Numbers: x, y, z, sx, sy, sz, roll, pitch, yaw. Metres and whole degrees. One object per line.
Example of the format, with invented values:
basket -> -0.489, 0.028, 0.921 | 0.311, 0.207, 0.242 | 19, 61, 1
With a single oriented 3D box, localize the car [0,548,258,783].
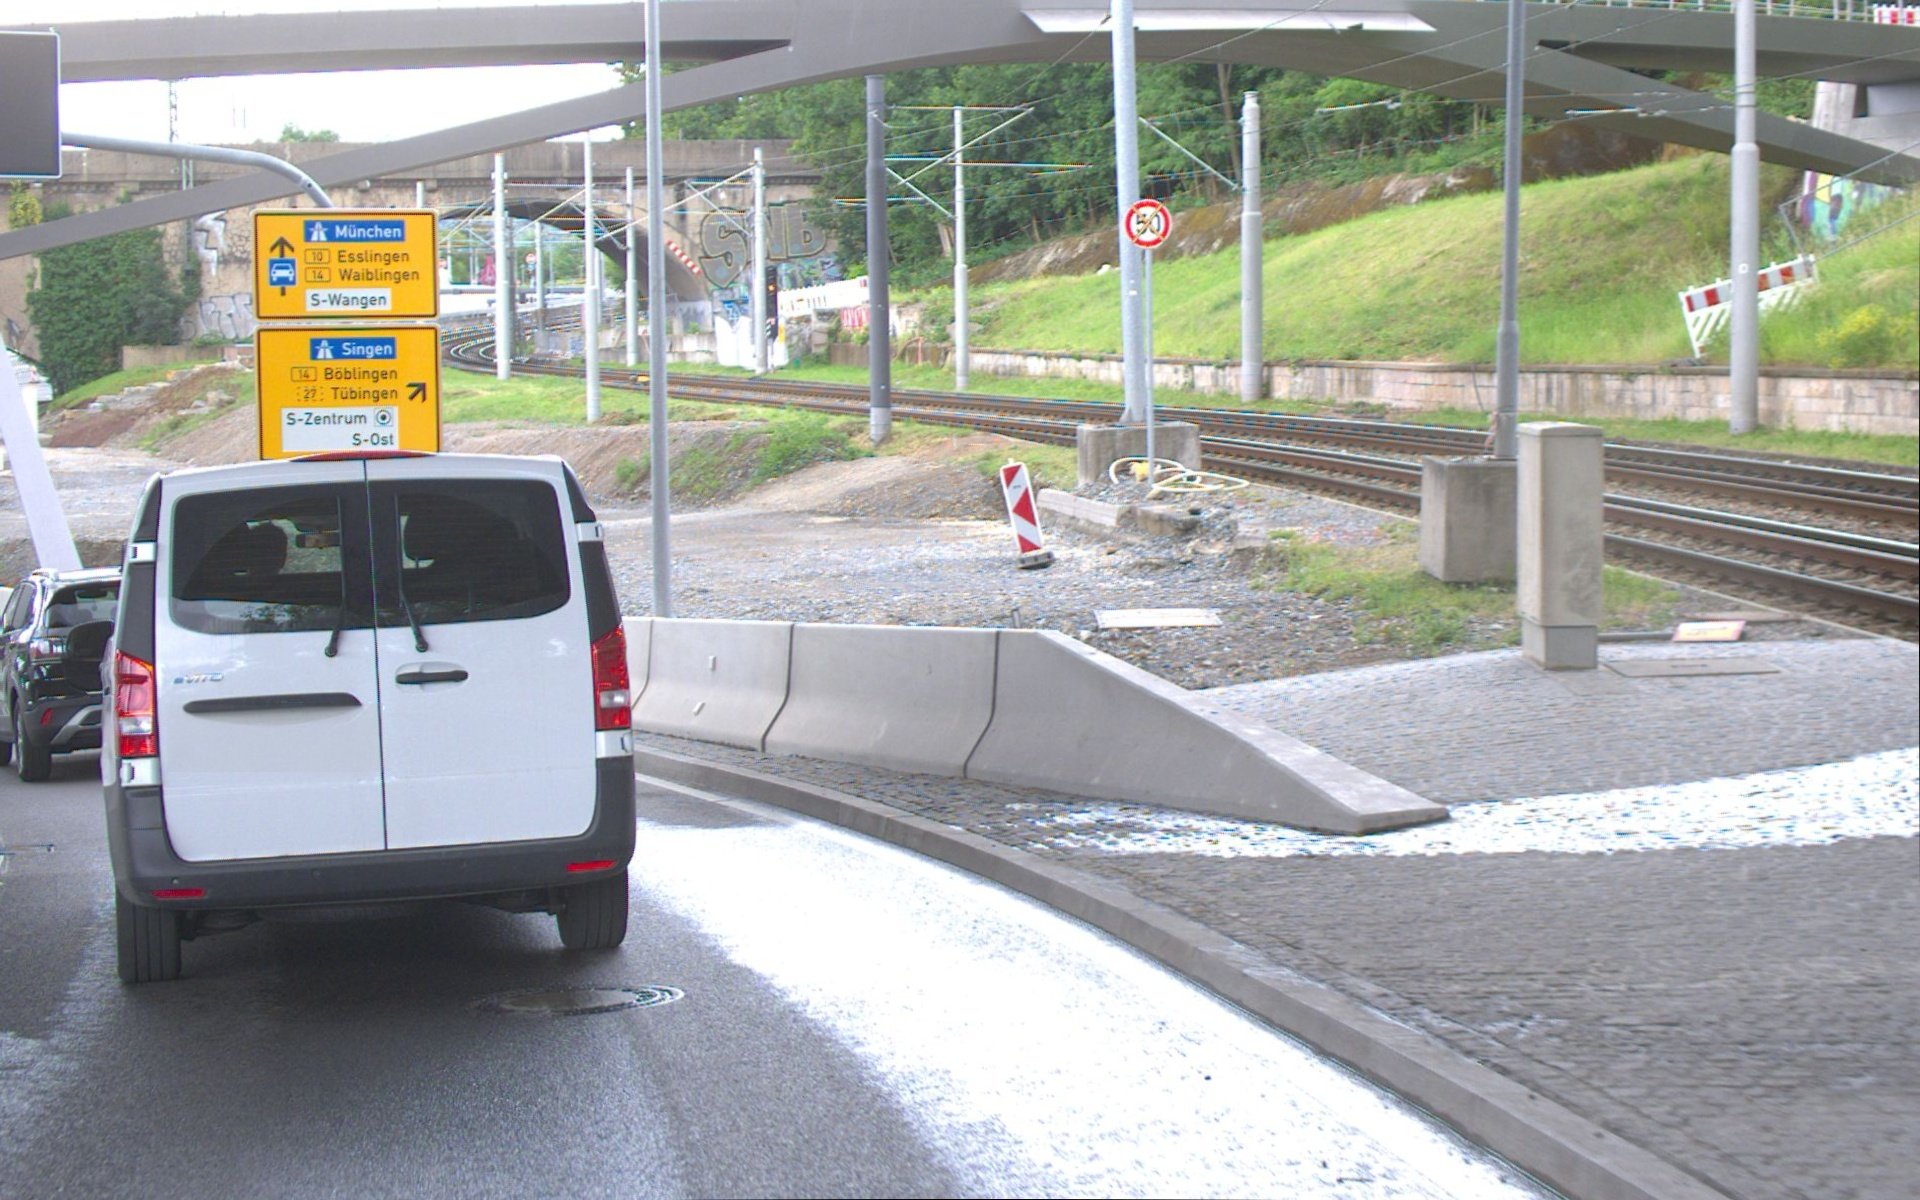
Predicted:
car -> -6.766, 0.445, 26.972 | 1.749, 1.619, 3.846 | -3, 2, -22

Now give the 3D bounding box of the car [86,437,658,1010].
car -> -2.553, 0.368, 13.982 | 1.875, 1.884, 4.754 | -2, 1, -14
